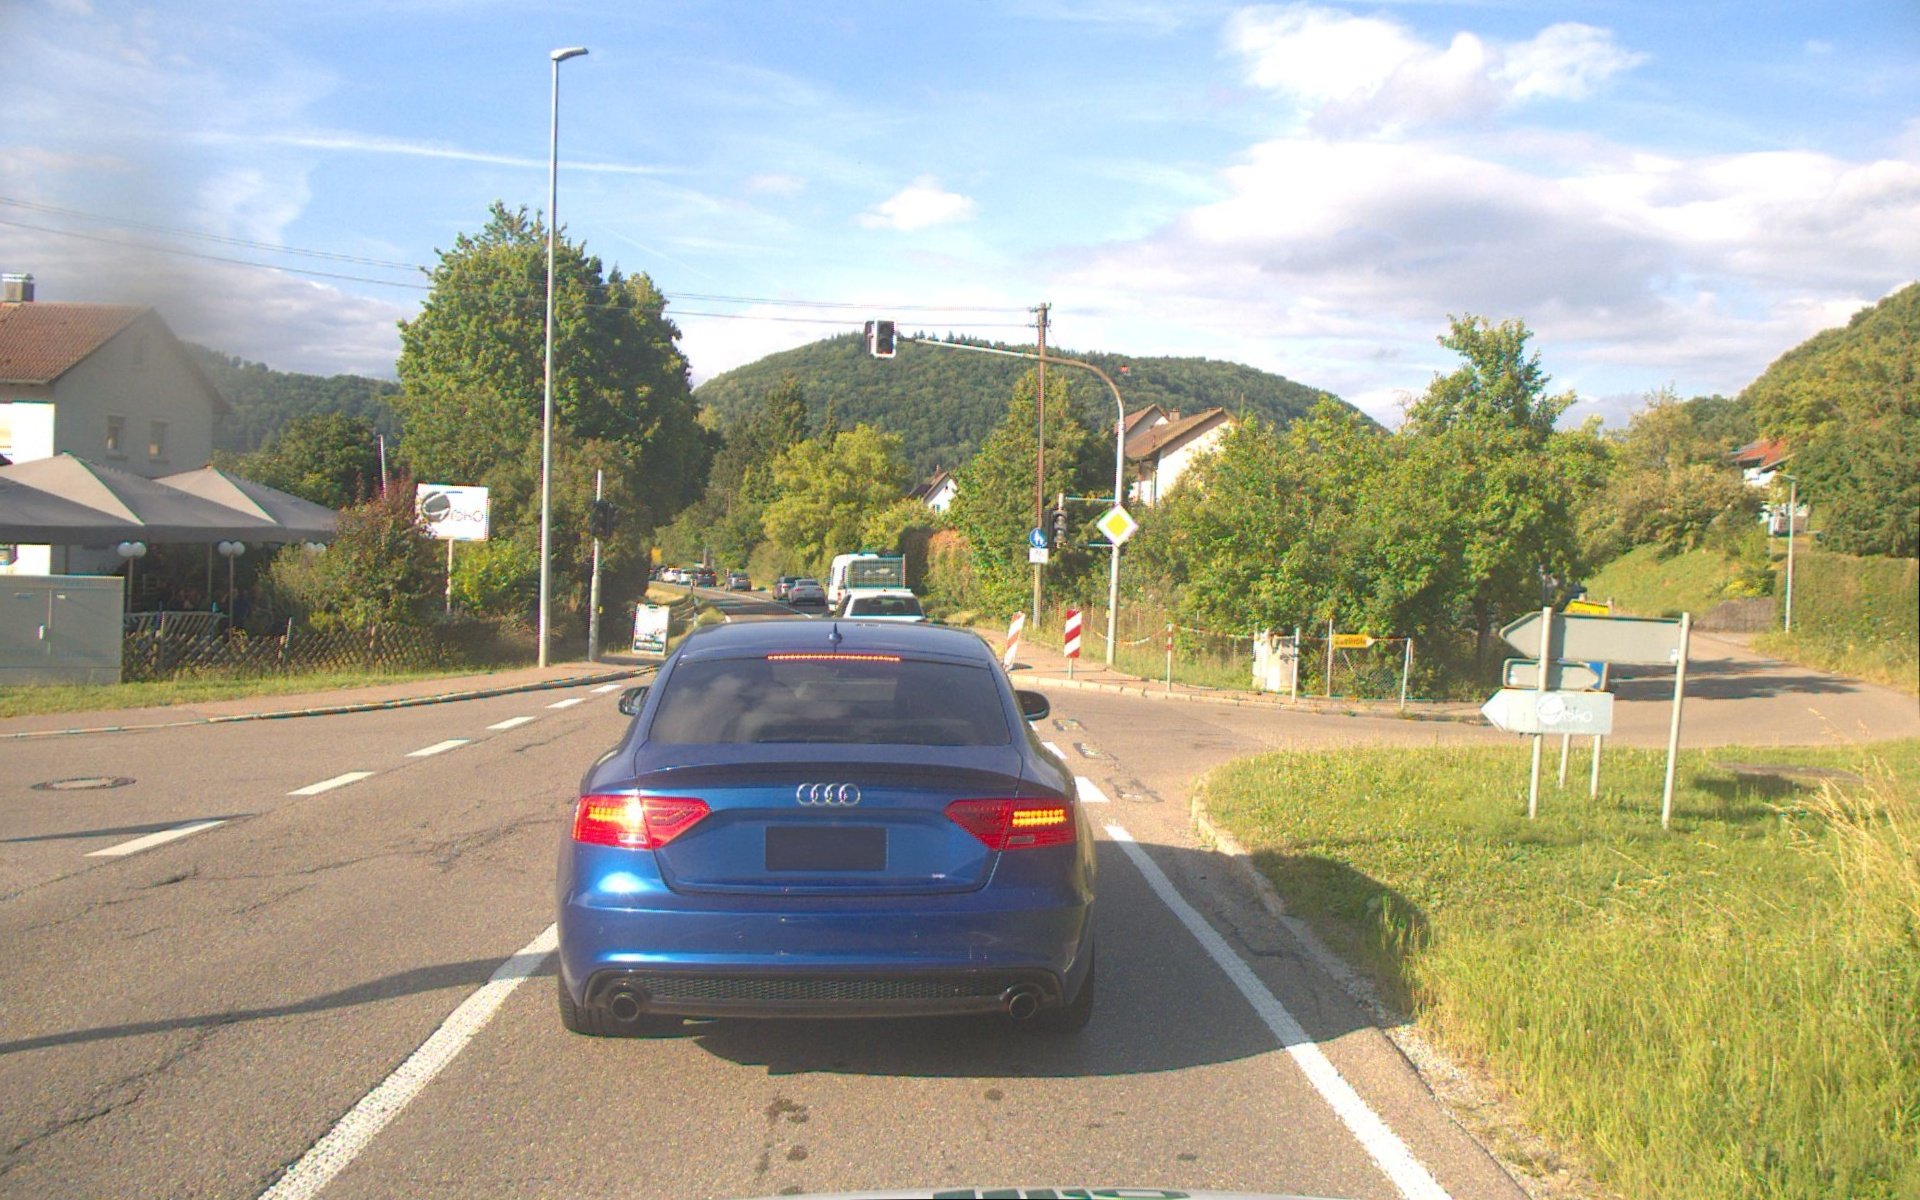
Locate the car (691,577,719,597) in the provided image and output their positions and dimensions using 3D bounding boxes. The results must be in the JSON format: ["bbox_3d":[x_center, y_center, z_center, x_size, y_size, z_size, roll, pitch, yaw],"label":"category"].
[{"bbox_3d":[-22.807,-1.185,147.878,2.007,1.713,3.983,0,1,-16],"label":"car"}]

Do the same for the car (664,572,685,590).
[{"bbox_3d":[-28.487,-1.885,164.917,1.720,1.814,3.983,0,1,-16],"label":"car"}]

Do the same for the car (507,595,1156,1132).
[{"bbox_3d":[-0.436,0.720,6.712,1.793,1.433,4.225,0,1,-2],"label":"car"}]

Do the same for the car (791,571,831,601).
[{"bbox_3d":[-8.268,-0.797,91.343,1.787,1.579,3.989,0,1,-11],"label":"car"}]

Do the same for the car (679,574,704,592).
[{"bbox_3d":[-25.405,-1.616,156.248,1.910,1.713,3.983,0,1,-16],"label":"car"}]

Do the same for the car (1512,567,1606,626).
[{"bbox_3d":[21.389,-0.162,59.272,1.951,1.909,4.874,3,1,5],"label":"car"}]

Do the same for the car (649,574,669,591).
[{"bbox_3d":[-32.377,-1.866,177.609,1.743,1.814,3.983,0,1,-16],"label":"car"}]

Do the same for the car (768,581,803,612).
[{"bbox_3d":[-10.817,-0.235,102.176,1.765,1.825,3.988,0,1,-12],"label":"car"}]

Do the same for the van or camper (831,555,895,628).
[{"bbox_3d":[-4.185,-0.390,70.244,2.369,2.955,6.123,0,1,-7],"label":"van or camper"}]

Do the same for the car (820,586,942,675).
[{"bbox_3d":[-1.527,0.513,30.551,1.739,1.439,4.165,2,0,-9],"label":"car"}]

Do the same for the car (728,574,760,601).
[{"bbox_3d":[-16.879,-0.985,129.227,1.960,2.049,3.984,0,0,-15],"label":"car"}]

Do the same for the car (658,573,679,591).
[{"bbox_3d":[-30.133,-1.872,171.085,1.743,1.814,3.983,0,1,-16],"label":"car"}]

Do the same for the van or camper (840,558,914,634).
[{"bbox_3d":[-2.837,-0.165,55.432,2.138,2.426,5.362,0,1,-7],"label":"van or camper"}]
